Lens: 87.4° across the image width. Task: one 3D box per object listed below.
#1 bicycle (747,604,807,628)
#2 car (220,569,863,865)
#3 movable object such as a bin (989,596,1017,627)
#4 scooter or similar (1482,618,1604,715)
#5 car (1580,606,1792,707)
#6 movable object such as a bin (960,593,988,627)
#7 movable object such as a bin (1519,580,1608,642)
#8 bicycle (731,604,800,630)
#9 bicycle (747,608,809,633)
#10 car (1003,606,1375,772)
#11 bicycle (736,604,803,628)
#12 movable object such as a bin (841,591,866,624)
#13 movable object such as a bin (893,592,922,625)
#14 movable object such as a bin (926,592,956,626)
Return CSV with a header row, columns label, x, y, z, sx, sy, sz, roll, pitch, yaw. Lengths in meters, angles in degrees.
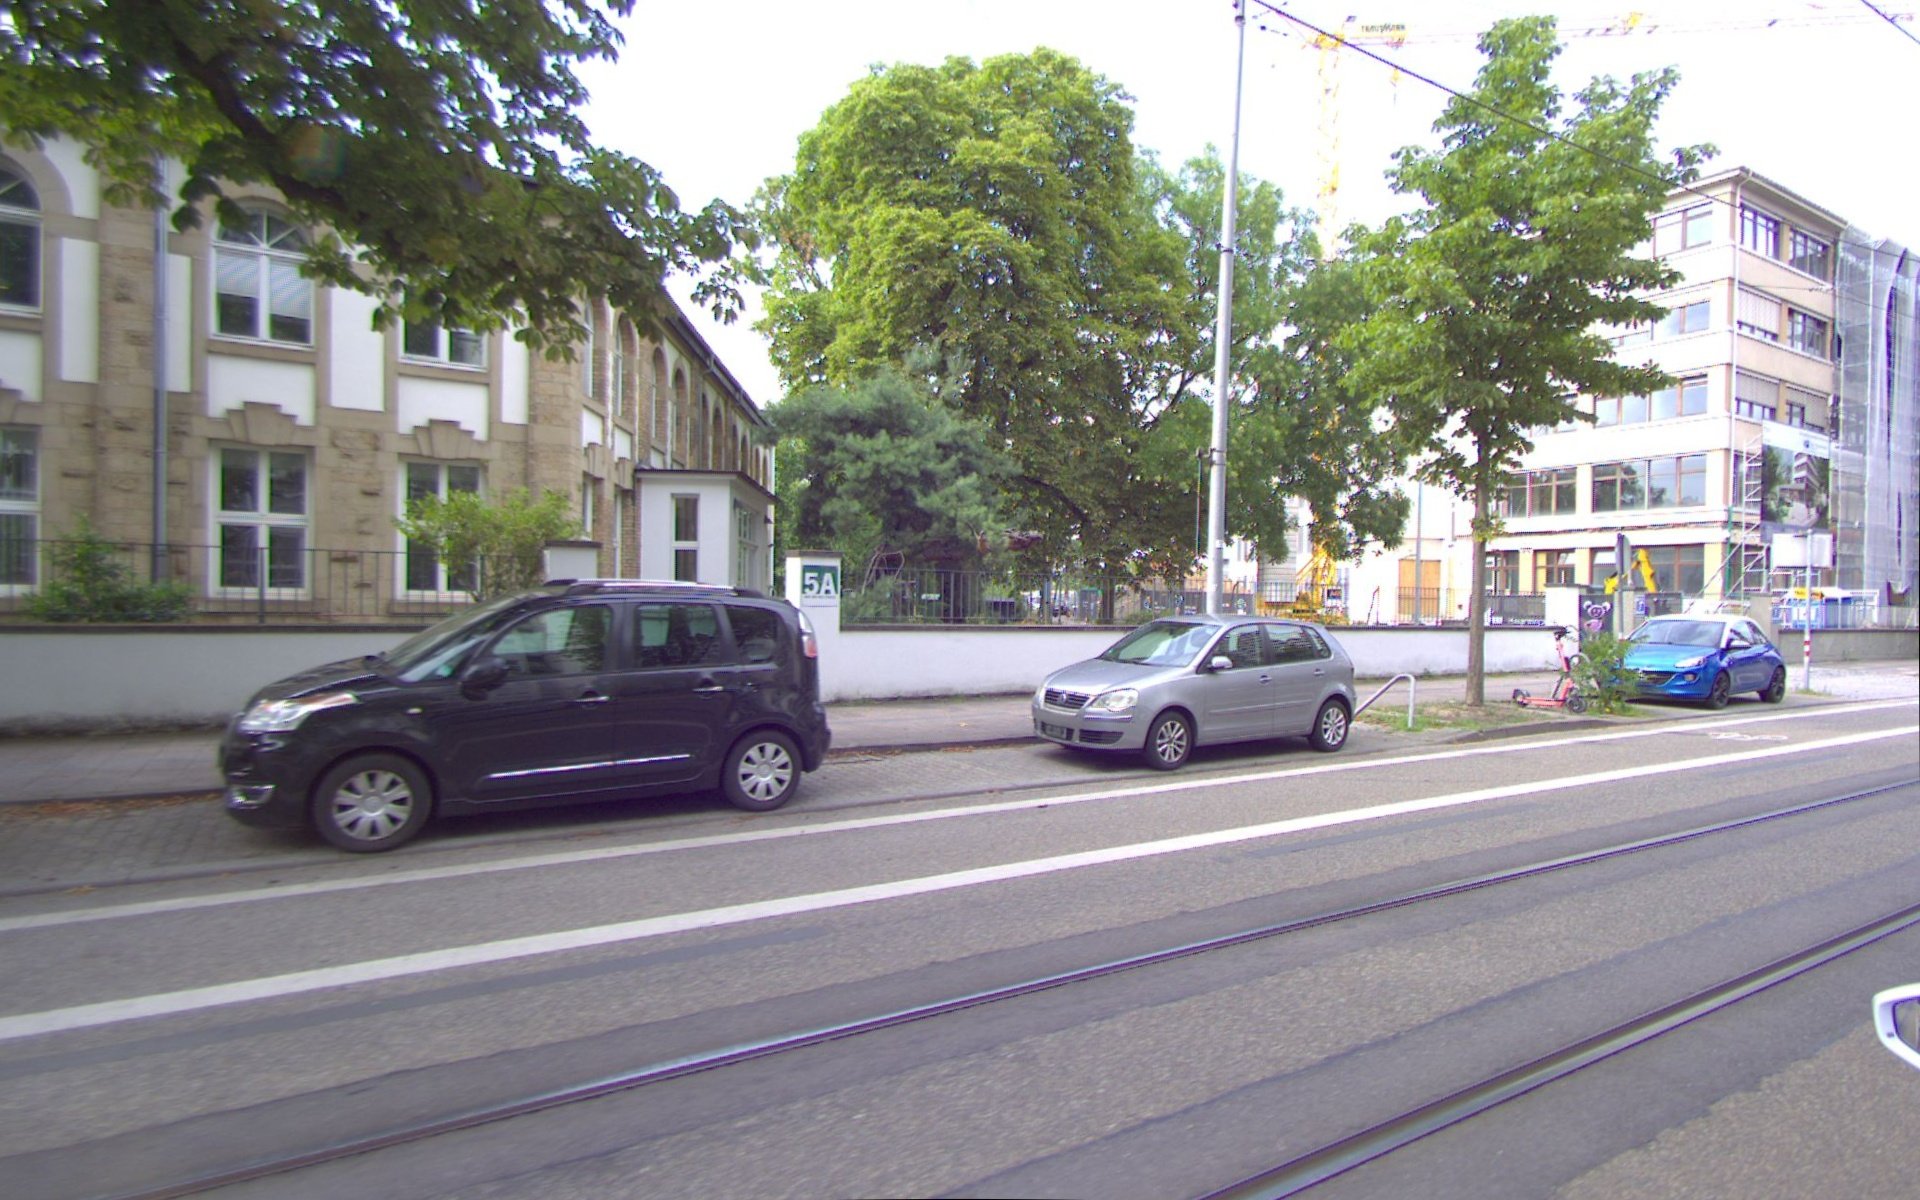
label,x,y,z,sx,sy,sz,roll,pitch,yaw
bicycle,-6.281,0.540,34.458,2.011,0.783,0.713,1,1,-11
car,-2.916,0.661,7.470,4.007,1.669,1.746,1,1,-32
movable object such as a bin,1.843,0.497,42.916,1.073,1.290,0.860,1,1,-5
scooter or similar,8.719,0.958,15.073,0.691,1.362,1.437,0,-1,-29
car,12.471,0.904,17.217,3.636,1.507,1.684,1,1,-32
movable object such as a bin,0.603,0.416,43.100,1.073,1.393,0.860,1,1,-5
movable object such as a bin,21.255,0.380,35.414,1.936,2.095,1.978,1,1,-29
bicycle,-5.845,0.513,30.305,2.011,0.718,0.713,1,1,-11
bicycle,-6.065,0.676,33.525,2.011,0.783,0.713,1,1,-11
car,2.513,0.831,10.806,3.825,1.447,1.684,1,1,-32
bicycle,-5.922,0.495,31.258,2.011,0.718,0.713,1,1,-11
movable object such as a bin,-4.526,0.312,42.835,1.001,1.393,0.970,1,1,-5
movable object such as a bin,-2.236,0.358,42.938,1.181,1.393,0.970,1,1,-5
movable object such as a bin,-0.820,0.386,43.107,1.181,1.393,0.860,1,1,-5
